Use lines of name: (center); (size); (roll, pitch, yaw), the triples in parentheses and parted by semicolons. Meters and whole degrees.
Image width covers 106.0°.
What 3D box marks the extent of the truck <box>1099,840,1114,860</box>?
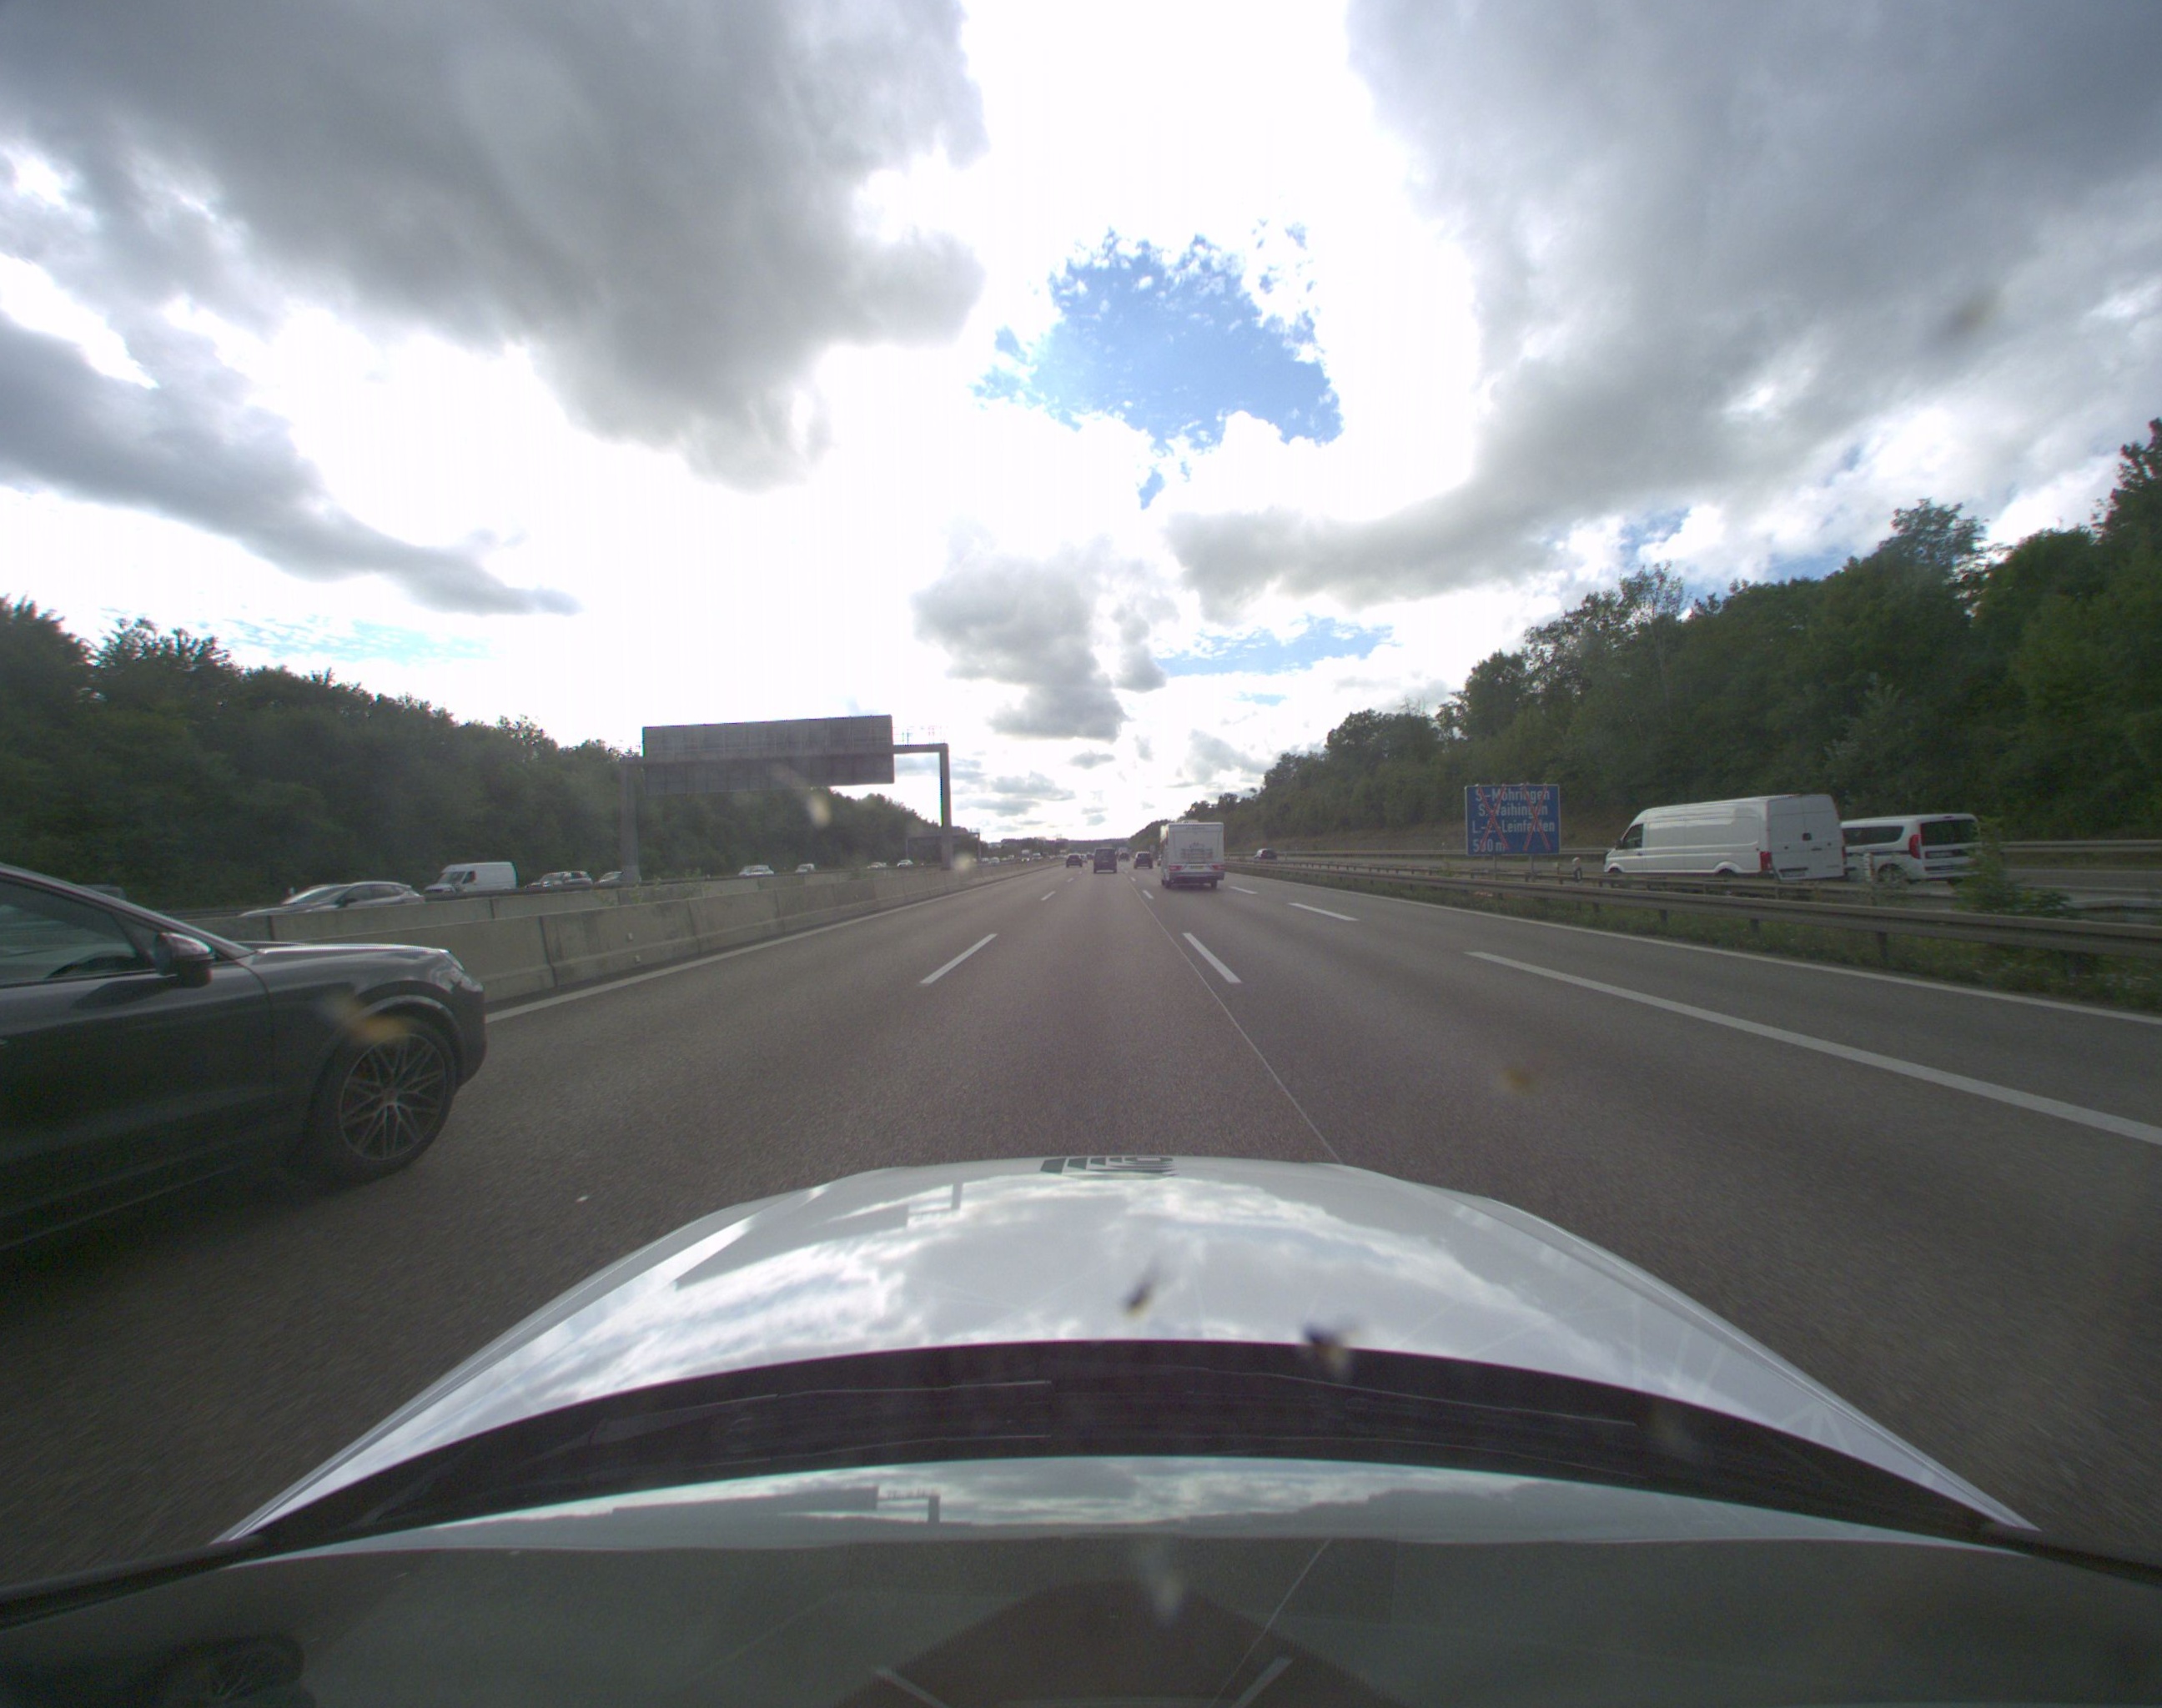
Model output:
truck: (5.664, -0.807, 183.535); (3.251, 4.375, 11.029); (-1, 0, 2)

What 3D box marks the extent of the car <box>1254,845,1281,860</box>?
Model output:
car: (19.770, -0.147, 86.364); (1.836, 1.484, 4.527); (-3, 0, 2)

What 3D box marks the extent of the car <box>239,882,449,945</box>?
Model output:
car: (-19.396, 1.500, 21.743); (1.637, 1.315, 4.248); (-2, 0, 1)

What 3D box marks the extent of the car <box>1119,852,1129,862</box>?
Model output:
car: (8.404, 0.595, 160.180); (1.906, 1.919, 4.031); (-1, 0, 1)

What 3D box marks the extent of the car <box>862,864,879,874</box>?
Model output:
car: (-33.230, 2.383, 128.693); (1.497, 1.427, 4.109); (-2, 0, 1)

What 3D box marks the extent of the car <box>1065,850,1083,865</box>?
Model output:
car: (-0.806, 0.390, 94.848); (1.866, 1.698, 4.073); (-1, 0, 1)

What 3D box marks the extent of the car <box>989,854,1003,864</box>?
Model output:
car: (-15.702, 0.967, 150.370); (1.828, 1.786, 5.504); (-2, 0, 1)

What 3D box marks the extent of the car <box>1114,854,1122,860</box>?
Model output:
car: (9.810, 0.759, 216.029); (1.746, 1.695, 4.191); (-1, 0, 1)

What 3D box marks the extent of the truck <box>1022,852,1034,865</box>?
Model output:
truck: (-13.871, 1.073, 211.846); (2.345, 3.263, 7.827); (-2, 0, 1)

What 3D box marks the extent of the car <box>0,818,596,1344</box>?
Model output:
car: (-4.325, 0.726, 2.774); (1.905, 1.636, 5.502); (-1, 0, 1)

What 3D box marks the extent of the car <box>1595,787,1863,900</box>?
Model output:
car: (17.197, -0.253, 22.316); (2.062, 2.554, 6.745); (-2, 0, 2)

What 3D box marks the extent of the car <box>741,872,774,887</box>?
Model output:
car: (-34.425, 2.694, 86.753); (1.652, 1.444, 4.324); (-2, 0, 1)

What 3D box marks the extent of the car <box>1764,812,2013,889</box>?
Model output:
car: (20.619, -0.091, 21.169); (1.836, 1.752, 4.766); (-1, 0, 2)

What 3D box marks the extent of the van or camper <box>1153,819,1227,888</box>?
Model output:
van or camper: (4.680, -0.021, 36.322); (2.460, 2.722, 7.663); (-1, 0, 1)

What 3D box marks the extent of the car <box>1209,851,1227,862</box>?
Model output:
car: (20.995, 0.380, 124.832); (1.837, 1.484, 4.525); (-3, 0, 0)

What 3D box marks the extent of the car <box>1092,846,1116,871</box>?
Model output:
car: (1.845, 0.346, 64.840); (1.848, 1.910, 4.261); (-1, 0, 1)

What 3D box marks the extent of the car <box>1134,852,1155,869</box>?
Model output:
car: (6.239, 0.608, 80.322); (1.691, 1.564, 4.114); (-1, 0, 1)

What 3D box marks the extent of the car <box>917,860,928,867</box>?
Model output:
car: (-35.823, 2.239, 184.499); (1.586, 1.494, 4.181); (-2, 0, 1)

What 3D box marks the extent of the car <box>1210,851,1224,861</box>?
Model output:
car: (20.782, 0.337, 124.421); (1.535, 1.484, 3.943); (-3, 0, 2)

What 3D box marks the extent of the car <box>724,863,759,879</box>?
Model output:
car: (-38.515, 1.921, 92.557); (1.728, 1.633, 4.948); (-2, 0, 1)

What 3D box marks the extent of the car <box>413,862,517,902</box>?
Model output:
car: (-39.406, 1.733, 52.332); (1.985, 2.315, 5.689); (-2, 0, 3)

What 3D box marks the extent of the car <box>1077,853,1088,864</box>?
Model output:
car: (0.310, 0.734, 130.733); (1.691, 1.611, 4.114); (-1, 0, 1)

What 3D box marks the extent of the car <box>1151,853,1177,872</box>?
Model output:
car: (6.570, 0.658, 64.745); (1.714, 1.479, 4.392); (-1, 0, 1)

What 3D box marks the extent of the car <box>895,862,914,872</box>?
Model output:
car: (-29.761, 2.126, 137.556); (1.986, 1.592, 4.770); (-2, 0, 2)
